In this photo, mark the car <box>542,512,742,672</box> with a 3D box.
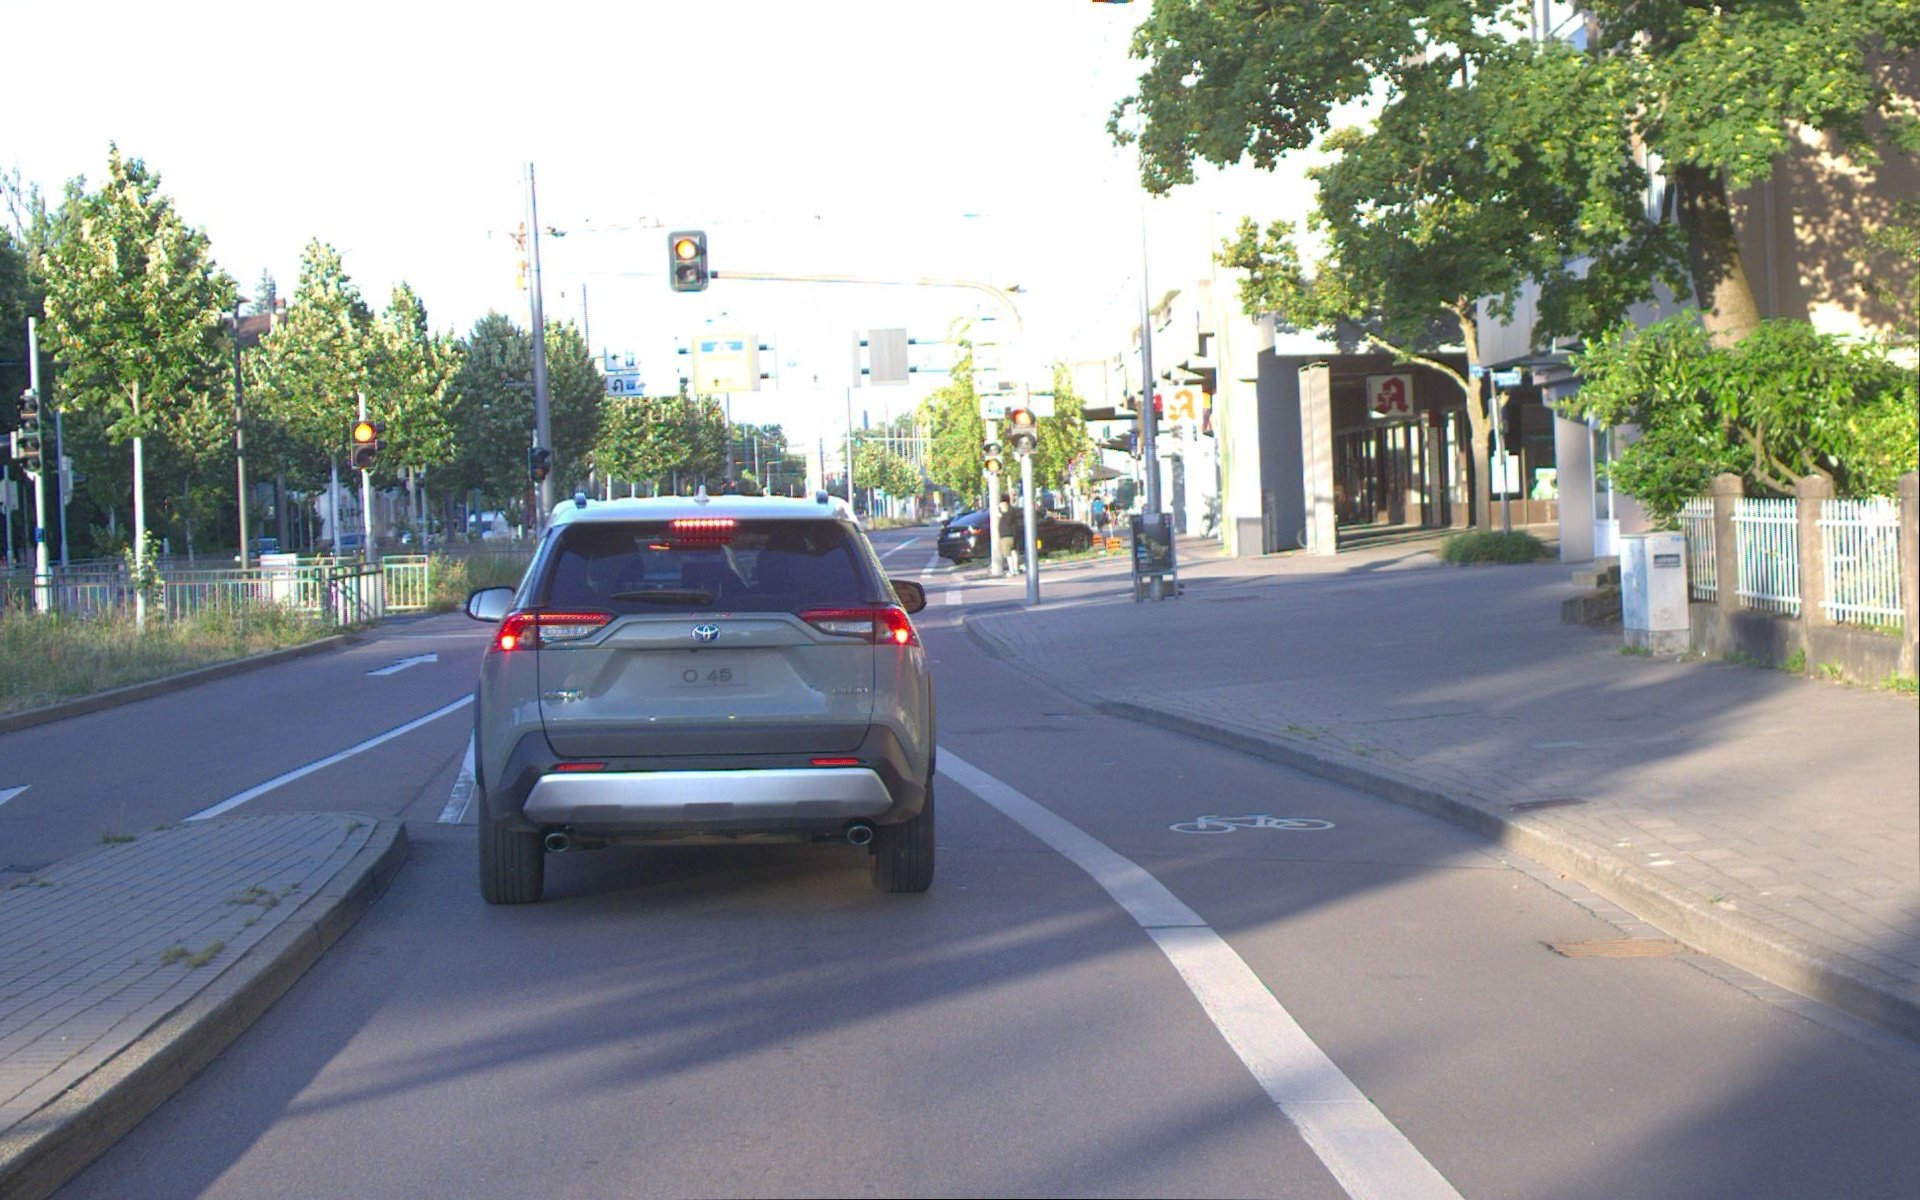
[{"bbox_3d":[-3.236,-0.130,35.669,1.857,1.546,4.110,0,2,-2],"label":"car"}]

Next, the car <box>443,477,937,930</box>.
[{"bbox_3d":[-1.109,0.328,15.119,1.857,1.708,4.193,0,2,-2],"label":"car"}]
